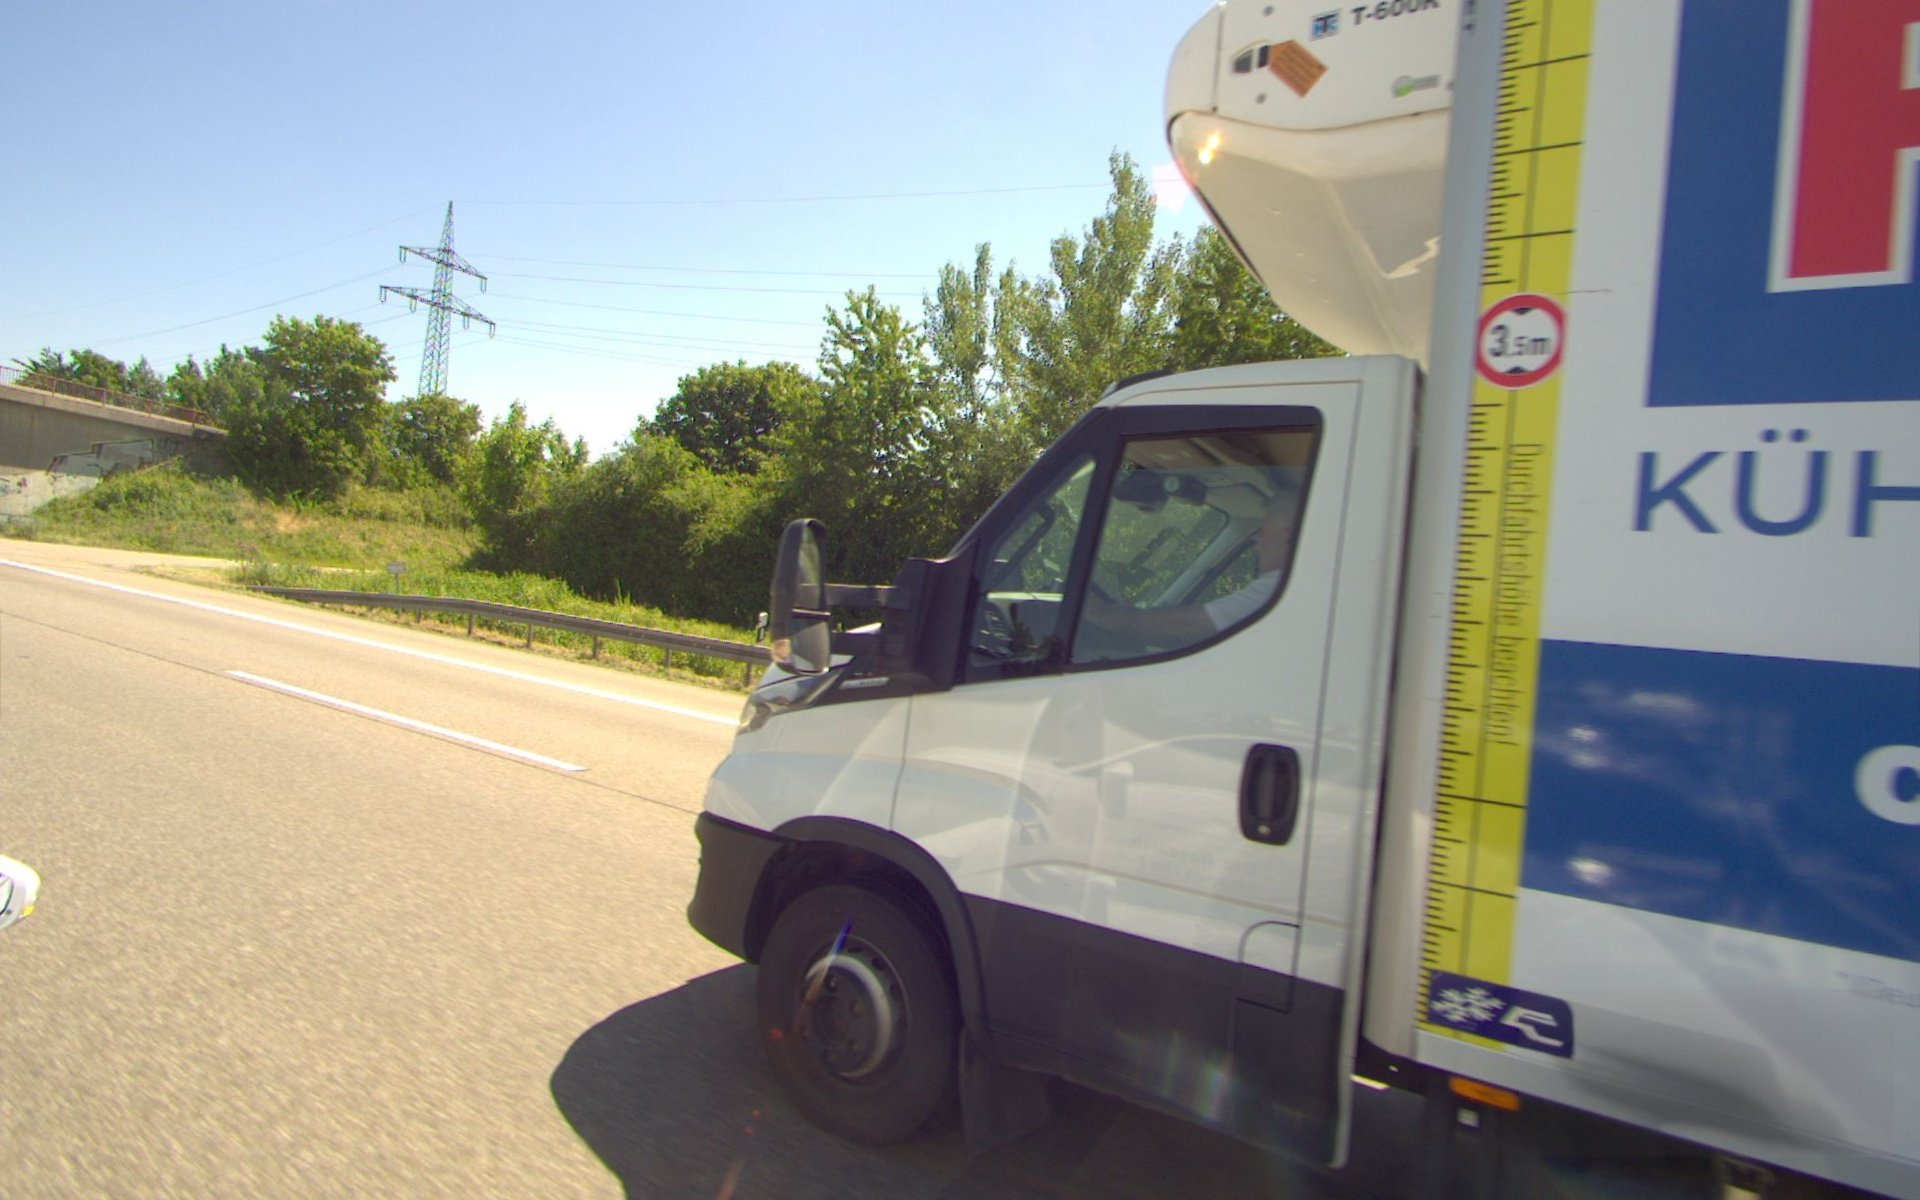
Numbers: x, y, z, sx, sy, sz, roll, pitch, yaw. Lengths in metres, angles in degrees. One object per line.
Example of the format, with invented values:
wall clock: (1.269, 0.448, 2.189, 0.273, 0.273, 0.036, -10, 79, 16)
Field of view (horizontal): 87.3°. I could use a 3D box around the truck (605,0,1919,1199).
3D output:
truck: (3.353, 0.236, 1.861, 7.990, 3.413, 2.787, 6, -1, 30)
